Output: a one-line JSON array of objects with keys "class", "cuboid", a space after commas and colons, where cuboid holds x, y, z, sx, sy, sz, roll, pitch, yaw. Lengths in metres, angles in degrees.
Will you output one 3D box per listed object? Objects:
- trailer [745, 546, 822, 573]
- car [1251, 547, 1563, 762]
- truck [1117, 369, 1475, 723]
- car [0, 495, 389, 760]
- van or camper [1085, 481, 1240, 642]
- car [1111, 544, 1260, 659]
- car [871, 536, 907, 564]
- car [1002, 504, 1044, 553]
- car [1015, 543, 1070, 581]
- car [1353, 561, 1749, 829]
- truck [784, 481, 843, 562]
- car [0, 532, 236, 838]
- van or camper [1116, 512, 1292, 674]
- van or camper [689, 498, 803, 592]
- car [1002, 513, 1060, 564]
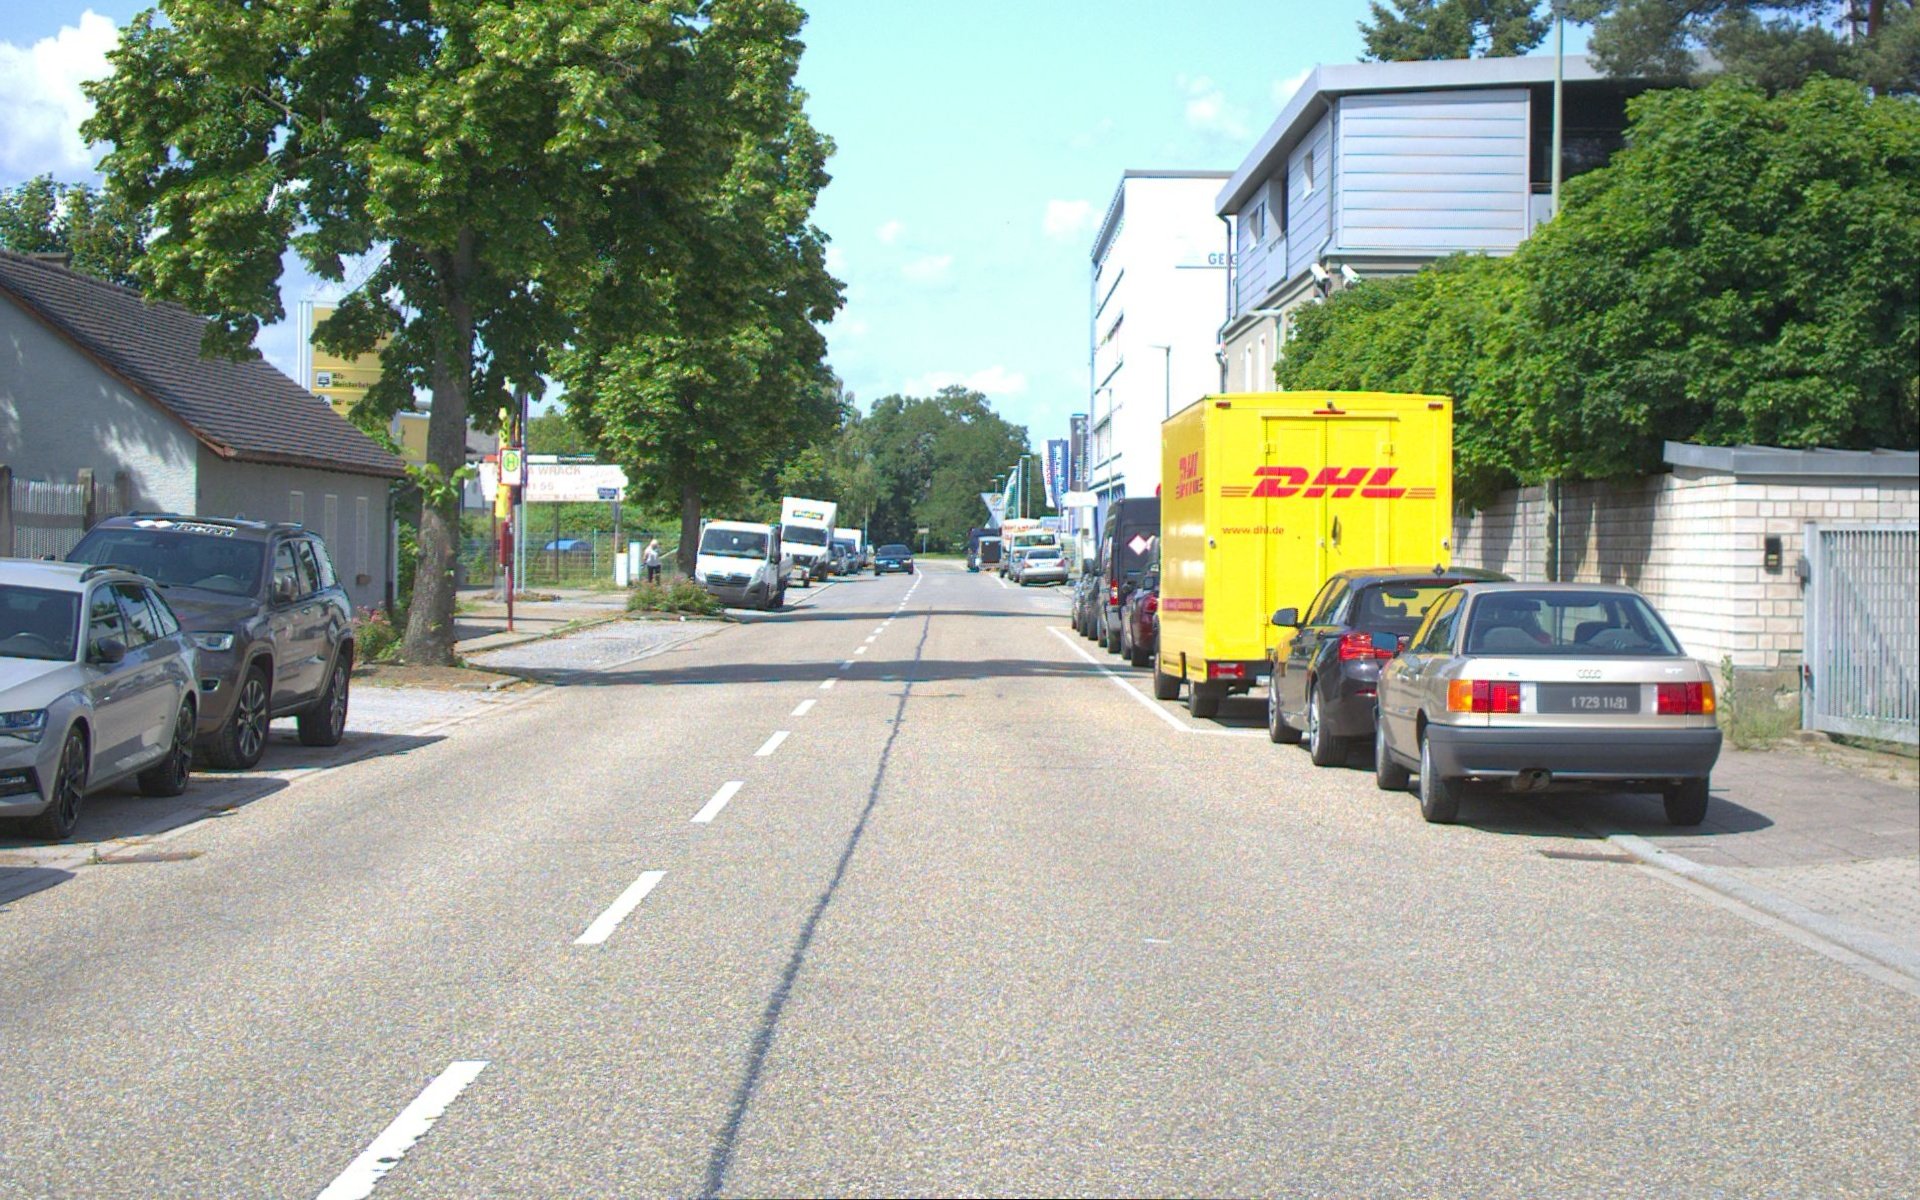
[{"class": "trailer", "cuboid": [-6.298, -1.467, 123.172, 2.417, 0.811, 5.537, 3, 1, 0]}, {"class": "car", "cuboid": [3.265, 0.345, 25.839, 1.662, 1.436, 4.284, 0, 1, -2]}, {"class": "truck", "cuboid": [3.015, -0.538, 32.797, 2.474, 2.930, 7.189, 2, 1, -1]}, {"class": "car", "cuboid": [-5.804, 0.140, 26.290, 1.919, 1.816, 4.785, 1, 1, 2]}, {"class": "van or camper", "cuboid": [3.077, -0.622, 53.212, 1.993, 2.283, 5.448, 2, 1, 0]}, {"class": "car", "cuboid": [3.017, -0.017, 46.855, 1.681, 1.437, 4.767, 1, 1, 0]}, {"class": "car", "cuboid": [-3.413, -2.409, 165.516, 1.654, 1.320, 4.417, 0, 1, 0]}, {"class": "car", "cuboid": [2.714, -3.098, 149.311, 1.707, 2.082, 4.000, 0, 1, -1]}, {"class": "car", "cuboid": [2.987, -1.385, 125.160, 1.928, 1.306, 4.000, 0, 1, 0]}, {"class": "car", "cuboid": [3.509, 0.500, 21.163, 1.652, 1.382, 4.423, 2, 1, 0]}, {"class": "truck", "cuboid": [-5.802, -3.128, 137.057, 2.029, 3.143, 6.500, 0, 1, 0]}, {"class": "car", "cuboid": [-5.756, 0.405, 20.794, 1.733, 1.513, 4.743, 3, 2, -1]}, {"class": "van or camper", "cuboid": [2.893, -0.138, 41.778, 1.759, 1.799, 5.587, 1, 1, 1]}, {"class": "van or camper", "cuboid": [-5.711, -1.511, 92.638, 2.174, 2.405, 7.697, 1, 1, 3]}, {"class": "car", "cuboid": [2.835, -2.499, 138.936, 2.216, 2.007, 5.485, 0, 1, 0]}]
